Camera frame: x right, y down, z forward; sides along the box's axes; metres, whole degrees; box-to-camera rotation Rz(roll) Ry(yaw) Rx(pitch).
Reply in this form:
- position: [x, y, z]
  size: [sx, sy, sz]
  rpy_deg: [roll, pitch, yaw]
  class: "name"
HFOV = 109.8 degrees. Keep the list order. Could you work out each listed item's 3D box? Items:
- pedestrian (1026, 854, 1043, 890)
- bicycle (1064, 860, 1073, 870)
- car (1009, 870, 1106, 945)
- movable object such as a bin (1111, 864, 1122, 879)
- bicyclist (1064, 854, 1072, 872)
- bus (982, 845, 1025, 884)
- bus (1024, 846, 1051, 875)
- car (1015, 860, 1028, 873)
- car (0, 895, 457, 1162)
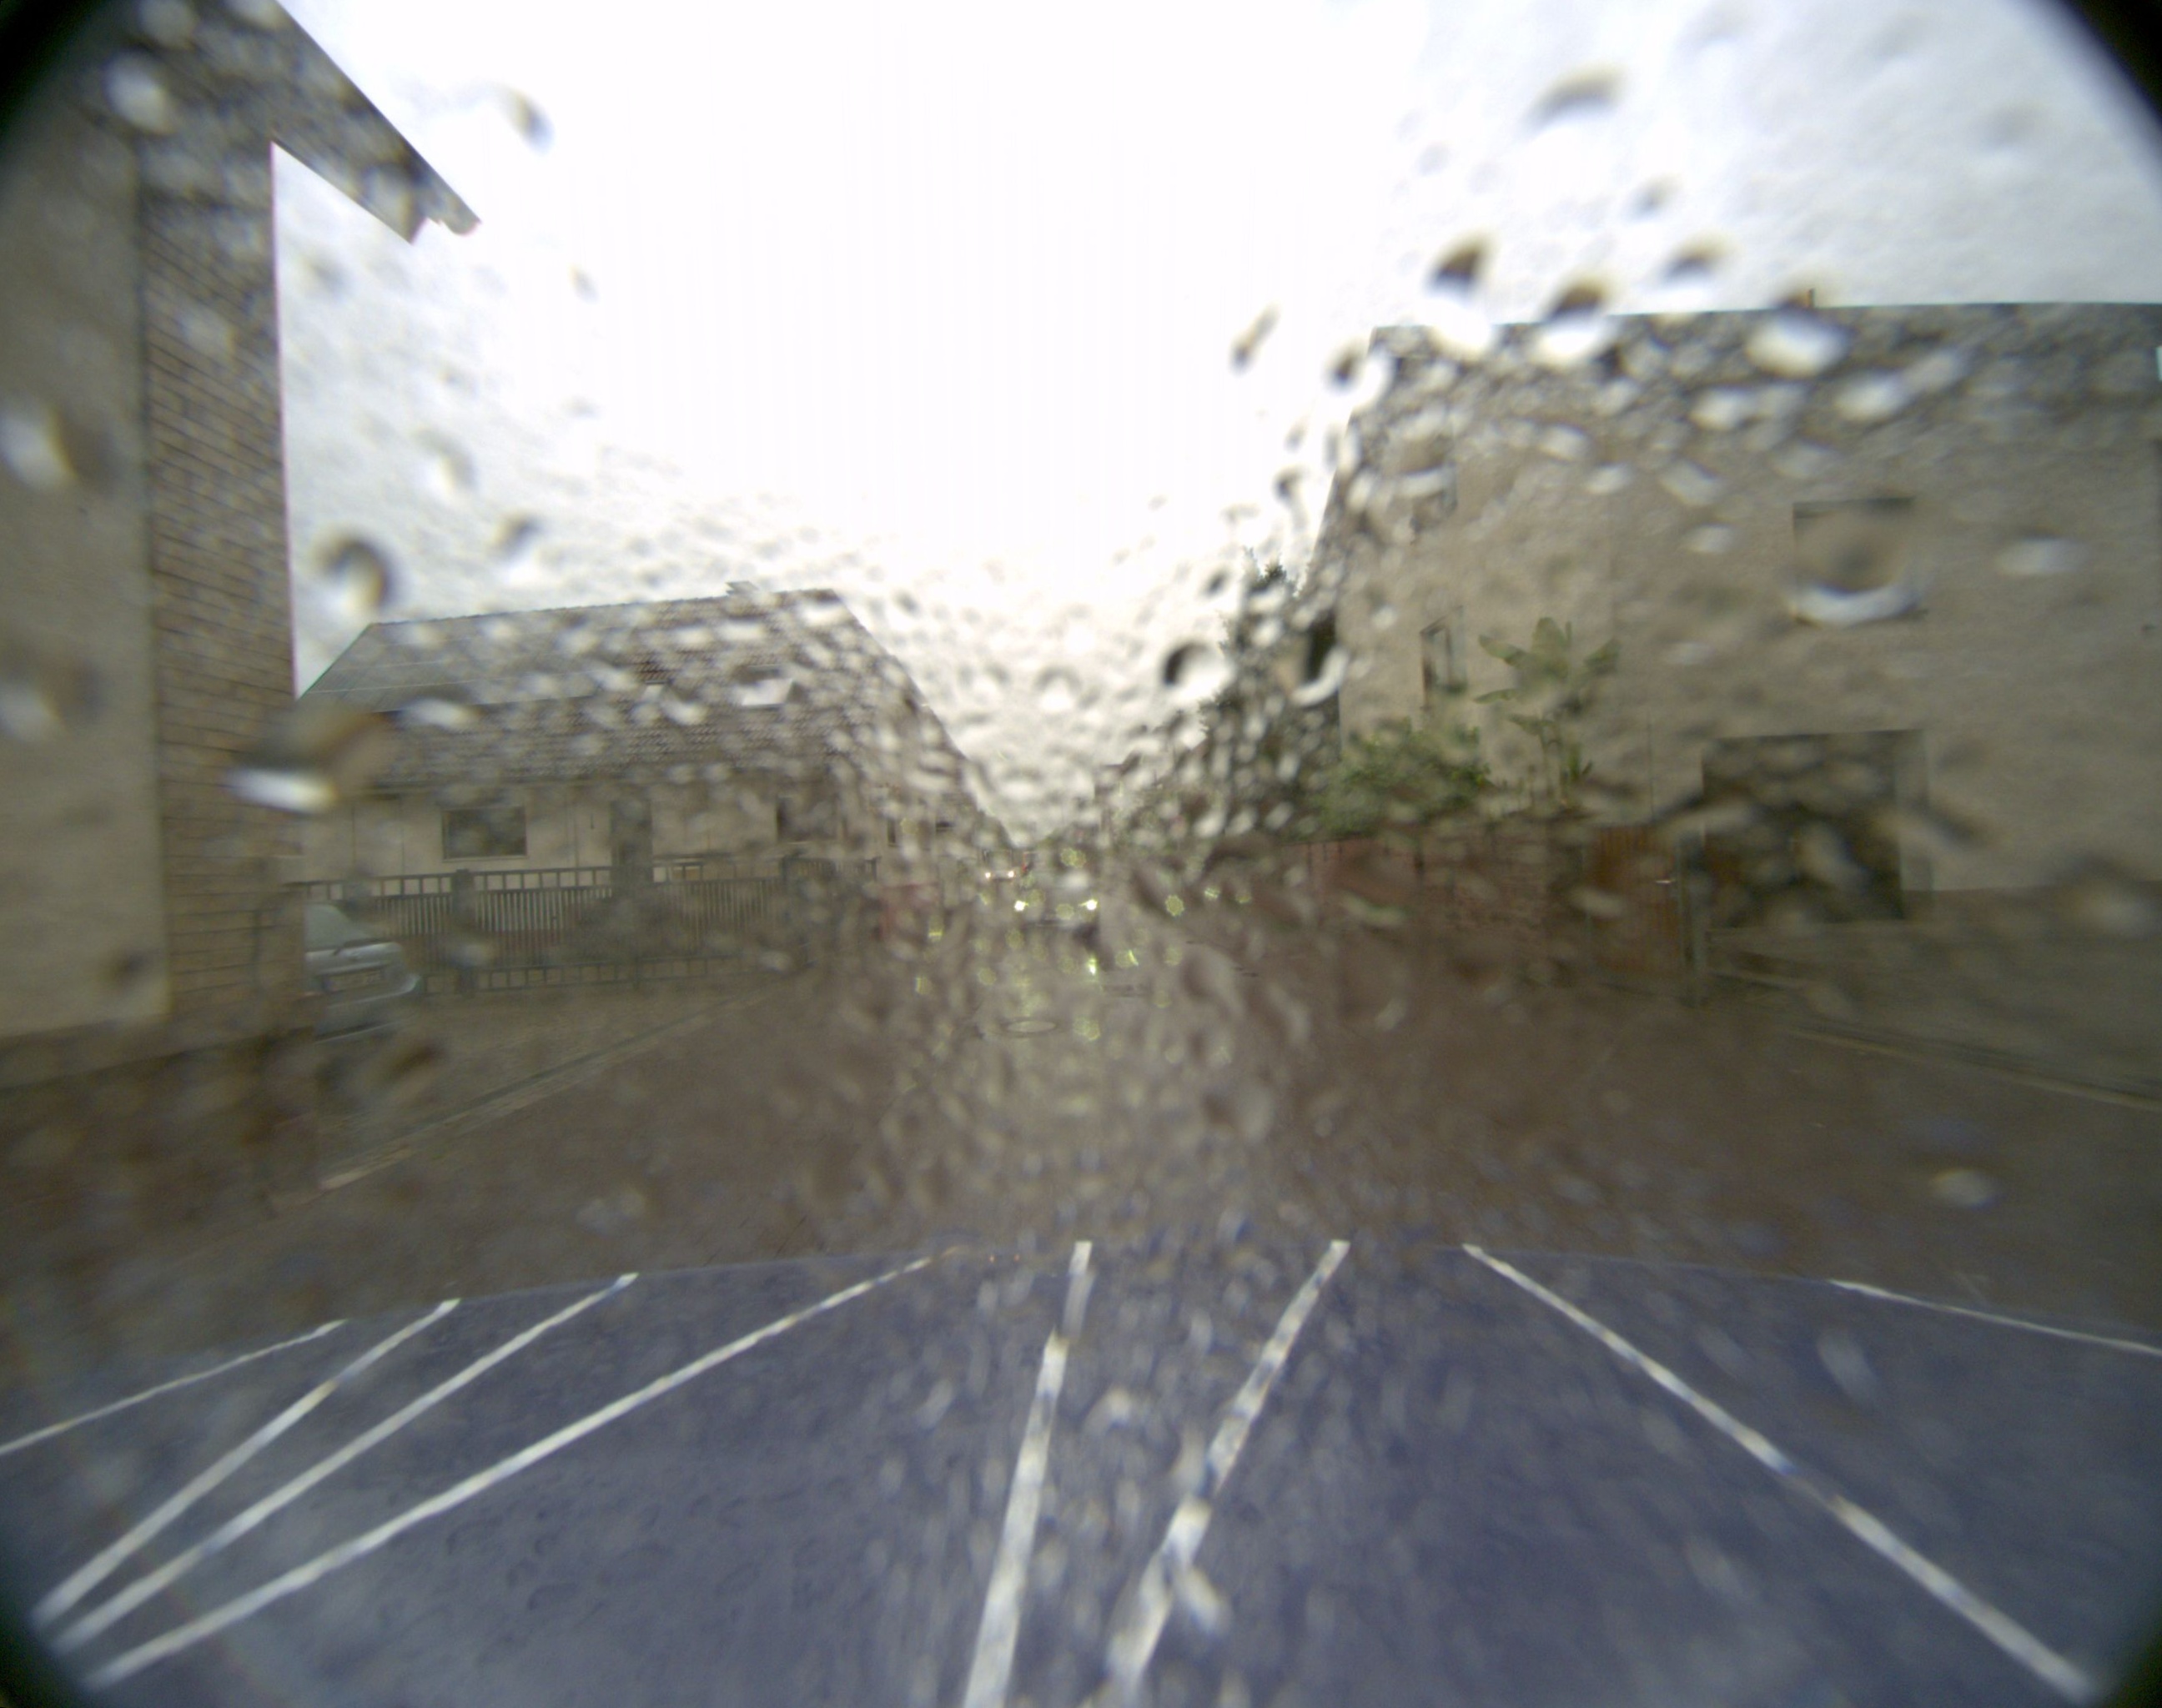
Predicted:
- position: [-2.296, 0.896, 37.484]
  size: [0.696, 1.722, 0.820]
  rpy_deg: [-2, 0, -7]
  class: "pedestrian"
- position: [-1.284, 1.115, 77.089]
  size: [0.663, 0.865, 1.934]
  rpy_deg: [-4, -2, -8]
  class: "bicycle"
- position: [-0.646, 1.079, 16.867]
  size: [1.781, 1.348, 4.186]
  rpy_deg: [-2, 0, -6]
  class: "car"
- position: [2.264, 1.098, 48.205]
  size: [0.539, 0.925, 0.544]
  rpy_deg: [-4, 1, -9]
  class: "movable object such as a bin"
- position: [-1.306, 0.886, 77.114]
  size: [0.659, 1.759, 0.703]
  rpy_deg: [-4, -1, -8]
  class: "bicyclist"
- position: [-7.959, 0.979, 76.226]
  size: [3.443, 3.391, 13.860]
  rpy_deg: [-3, 0, -8]
  class: "bus"
- position: [-5.085, 0.771, 89.859]
  size: [2.814, 2.921, 11.938]
  rpy_deg: [-4, 0, -3]
  class: "bus"
- position: [-10.154, 2.119, 129.401]
  size: [2.000, 2.002, 4.241]
  rpy_deg: [-4, 1, -7]
  class: "car"
- position: [-7.467, 1.227, 5.658]
  size: [3.907, 1.489, 1.850]
  rpy_deg: [-3, 1, -5]
  class: "car"
